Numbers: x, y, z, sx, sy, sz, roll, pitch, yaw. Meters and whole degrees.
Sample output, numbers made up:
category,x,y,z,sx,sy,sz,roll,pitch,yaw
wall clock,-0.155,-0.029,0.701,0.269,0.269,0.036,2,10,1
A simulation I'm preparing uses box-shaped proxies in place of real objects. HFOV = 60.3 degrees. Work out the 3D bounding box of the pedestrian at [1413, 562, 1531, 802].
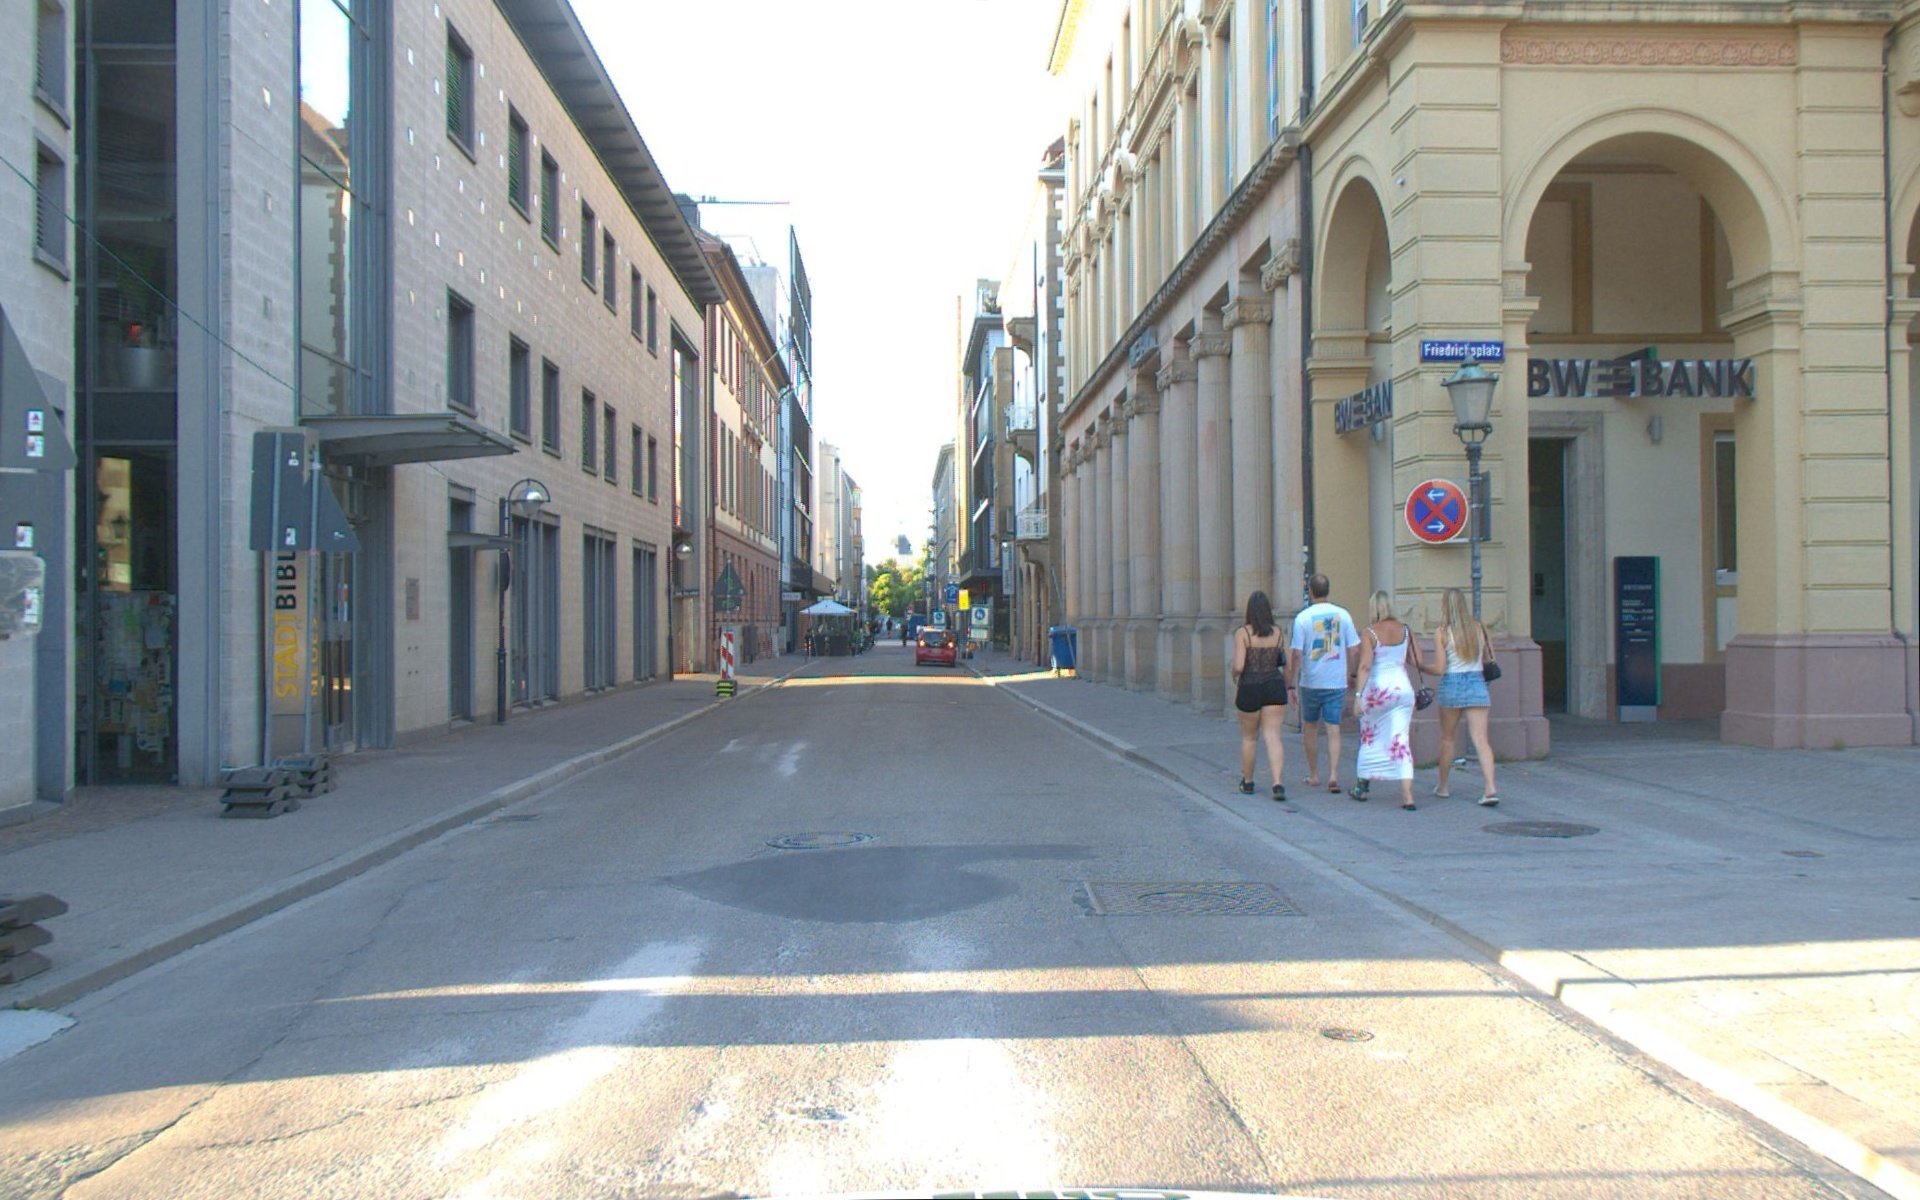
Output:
category,x,y,z,sx,sy,sz,roll,pitch,yaw
pedestrian,4.054,0.636,13.137,0.624,1.835,0.771,-1,-1,-3

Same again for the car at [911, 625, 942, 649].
category,x,y,z,sx,sy,sz,roll,pitch,yaw
car,-2.363,2.565,115.991,1.954,1.639,3.997,0,-1,-4

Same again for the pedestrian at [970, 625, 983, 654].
category,x,y,z,sx,sy,sz,roll,pitch,yaw
pedestrian,0.887,2.092,87.083,0.643,1.514,0.493,-1,-1,0

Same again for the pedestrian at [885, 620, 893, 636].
category,x,y,z,sx,sy,sz,roll,pitch,yaw
pedestrian,-7.570,2.935,175.743,0.788,1.702,0.888,-1,-1,0

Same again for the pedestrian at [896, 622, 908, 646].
category,x,y,z,sx,sy,sz,roll,pitch,yaw
pedestrian,-4.249,2.512,120.827,0.848,1.743,0.852,0,-1,-3

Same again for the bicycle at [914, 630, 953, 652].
category,x,y,z,sx,sy,sz,roll,pitch,yaw
bicycle,-1.413,2.199,88.545,2.012,1.154,0.648,0,-1,-6

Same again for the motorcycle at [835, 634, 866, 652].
category,x,y,z,sx,sy,sz,roll,pitch,yaw
motorcycle,-6.503,2.549,98.164,1.767,1.059,0.493,0,-1,-7

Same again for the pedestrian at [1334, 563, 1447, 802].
category,x,y,z,sx,sy,sz,roll,pitch,yaw
pedestrian,3.406,0.640,13.143,0.624,1.835,0.771,-1,-1,-3

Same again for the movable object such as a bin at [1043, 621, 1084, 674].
category,x,y,z,sx,sy,sz,roll,pitch,yaw
movable object such as a bin,2.880,1.306,45.989,0.970,1.416,1.240,-1,-1,-3

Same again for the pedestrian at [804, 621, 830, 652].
category,x,y,z,sx,sy,sz,roll,pitch,yaw
pedestrian,-7.095,1.818,82.281,1.265,1.514,0.661,0,-1,-4

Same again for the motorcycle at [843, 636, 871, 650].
category,x,y,z,sx,sy,sz,roll,pitch,yaw
motorcycle,-6.611,2.758,106.336,1.767,0.891,0.560,0,-1,-7

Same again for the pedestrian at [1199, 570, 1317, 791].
category,x,y,z,sx,sy,sz,roll,pitch,yaw
pedestrian,2.483,0.656,13.873,0.760,1.777,0.874,-1,-1,-3

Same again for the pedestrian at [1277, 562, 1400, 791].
category,x,y,z,sx,sy,sz,roll,pitch,yaw
pedestrian,3.268,0.645,14.350,0.795,1.908,0.874,-1,-1,-3

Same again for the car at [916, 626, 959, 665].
category,x,y,z,sx,sy,sz,roll,pitch,yaw
car,-0.938,1.817,66.709,1.616,1.452,3.534,2,-1,-2
